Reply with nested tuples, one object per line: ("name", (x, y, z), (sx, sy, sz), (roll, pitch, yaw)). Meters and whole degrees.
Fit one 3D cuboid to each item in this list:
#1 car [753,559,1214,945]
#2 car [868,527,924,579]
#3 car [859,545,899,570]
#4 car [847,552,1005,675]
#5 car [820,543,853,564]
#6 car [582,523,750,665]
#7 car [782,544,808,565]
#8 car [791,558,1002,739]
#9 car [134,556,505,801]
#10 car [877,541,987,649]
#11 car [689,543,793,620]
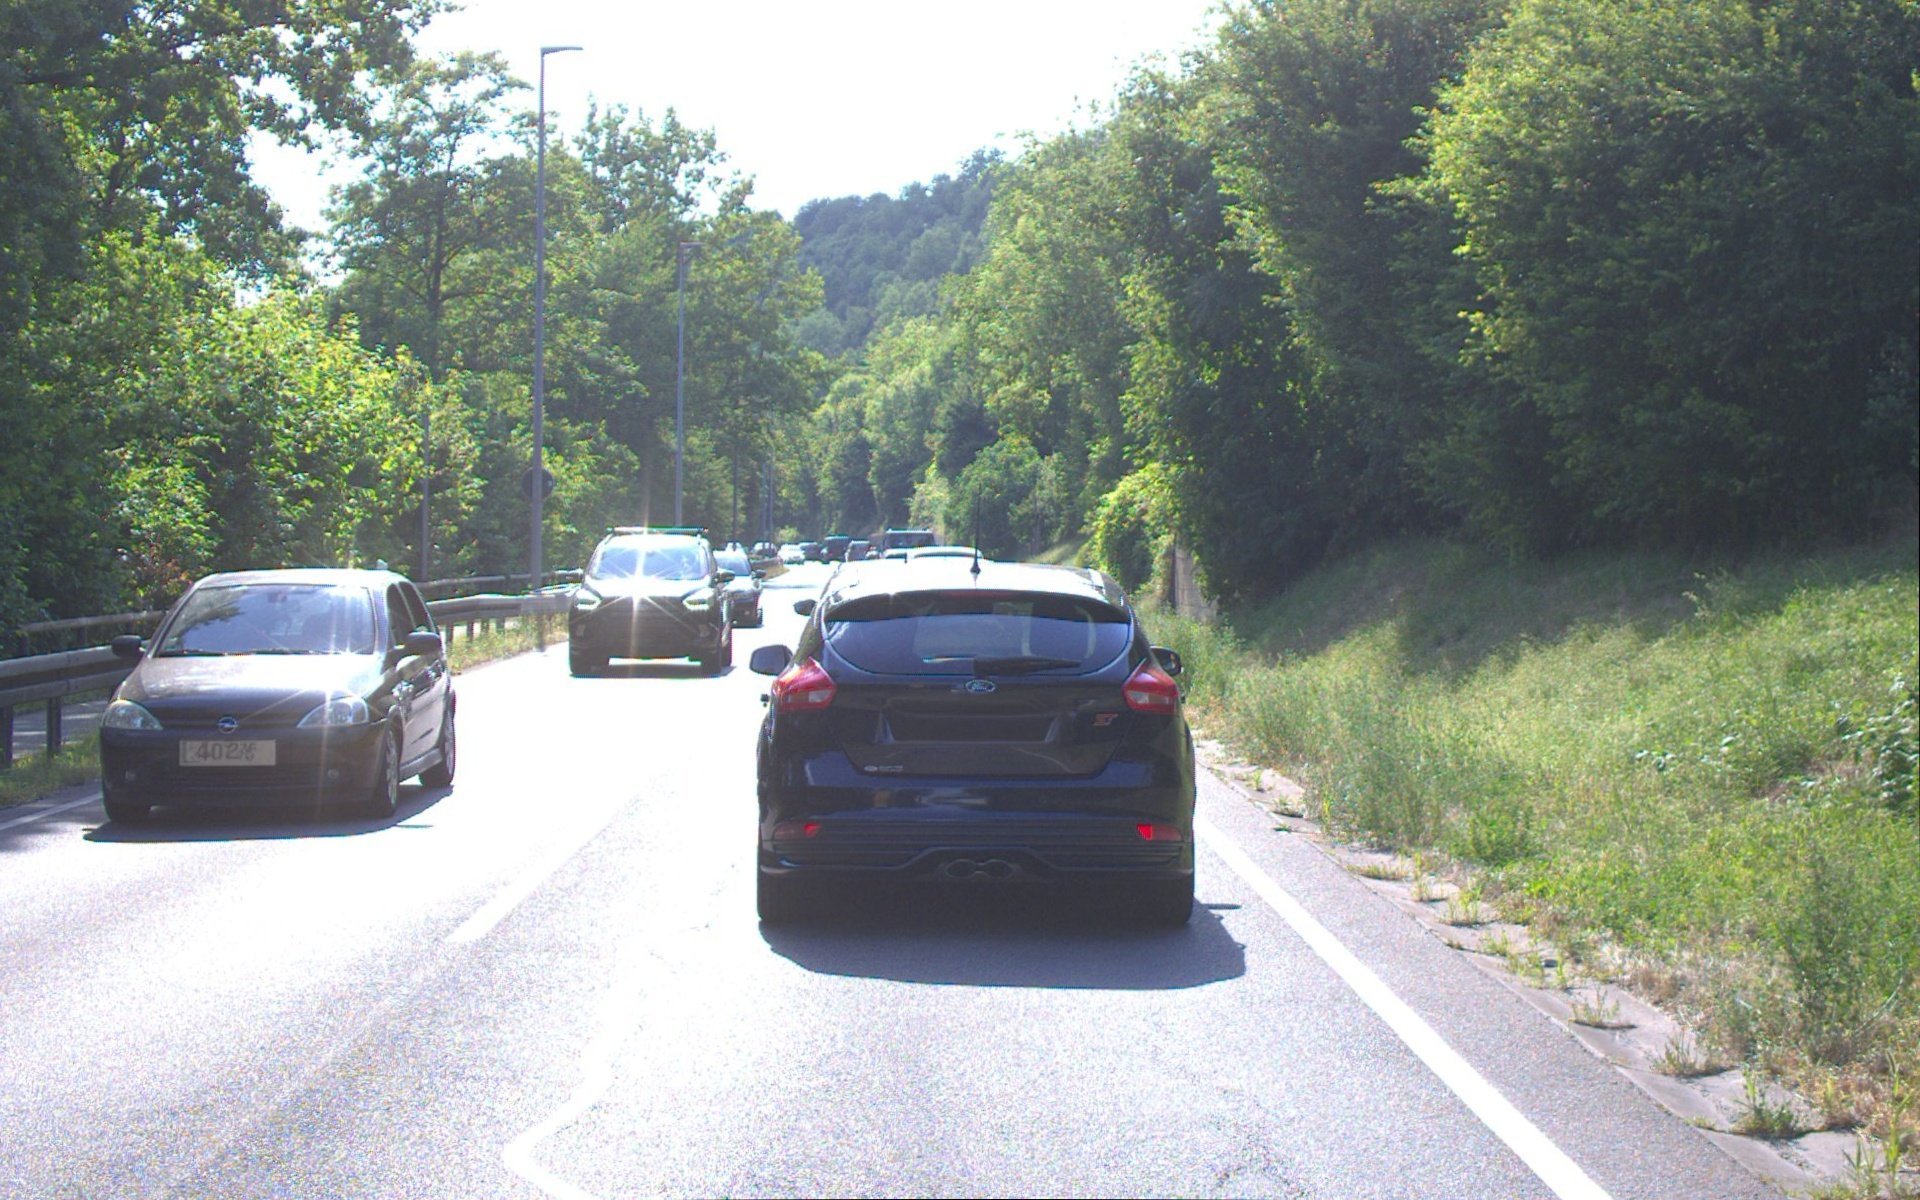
("car", (0.067, 0.557, 15.129), (1.739, 1.451, 4.000), (1, 1, -1))
("car", (-2.219, -1.637, 118.731), (1.863, 1.774, 4.001), (0, 1, -2))
("car", (-5.005, -2.620, 212.710), (1.993, 1.514, 4.001), (0, 1, -8))
("car", (-0.406, 0.128, 41.215), (1.804, 1.387, 4.000), (0, 1, -1))
("car", (-8.912, -3.361, 247.340), (1.993, 1.514, 4.001), (0, 1, -8))
("car", (-3.689, -0.109, 43.760), (1.748, 1.712, 4.221), (0, 1, 0))
("car", (-11.624, -3.206, 242.218), (1.623, 1.372, 4.048), (-2, 1, -1))
("car", (-0.480, 0.360, 29.288), (1.661, 1.413, 4.000), (0, 1, 1))
("car", (-4.076, 0.440, 22.460), (1.681, 1.437, 4.000), (0, 1, 0))
("car", (-0.438, -0.109, 53.095), (1.631, 1.590, 4.000), (0, 1, -1))
("car", (-4.206, -0.381, 66.628), (1.691, 1.415, 4.142), (-1, 1, 1))
